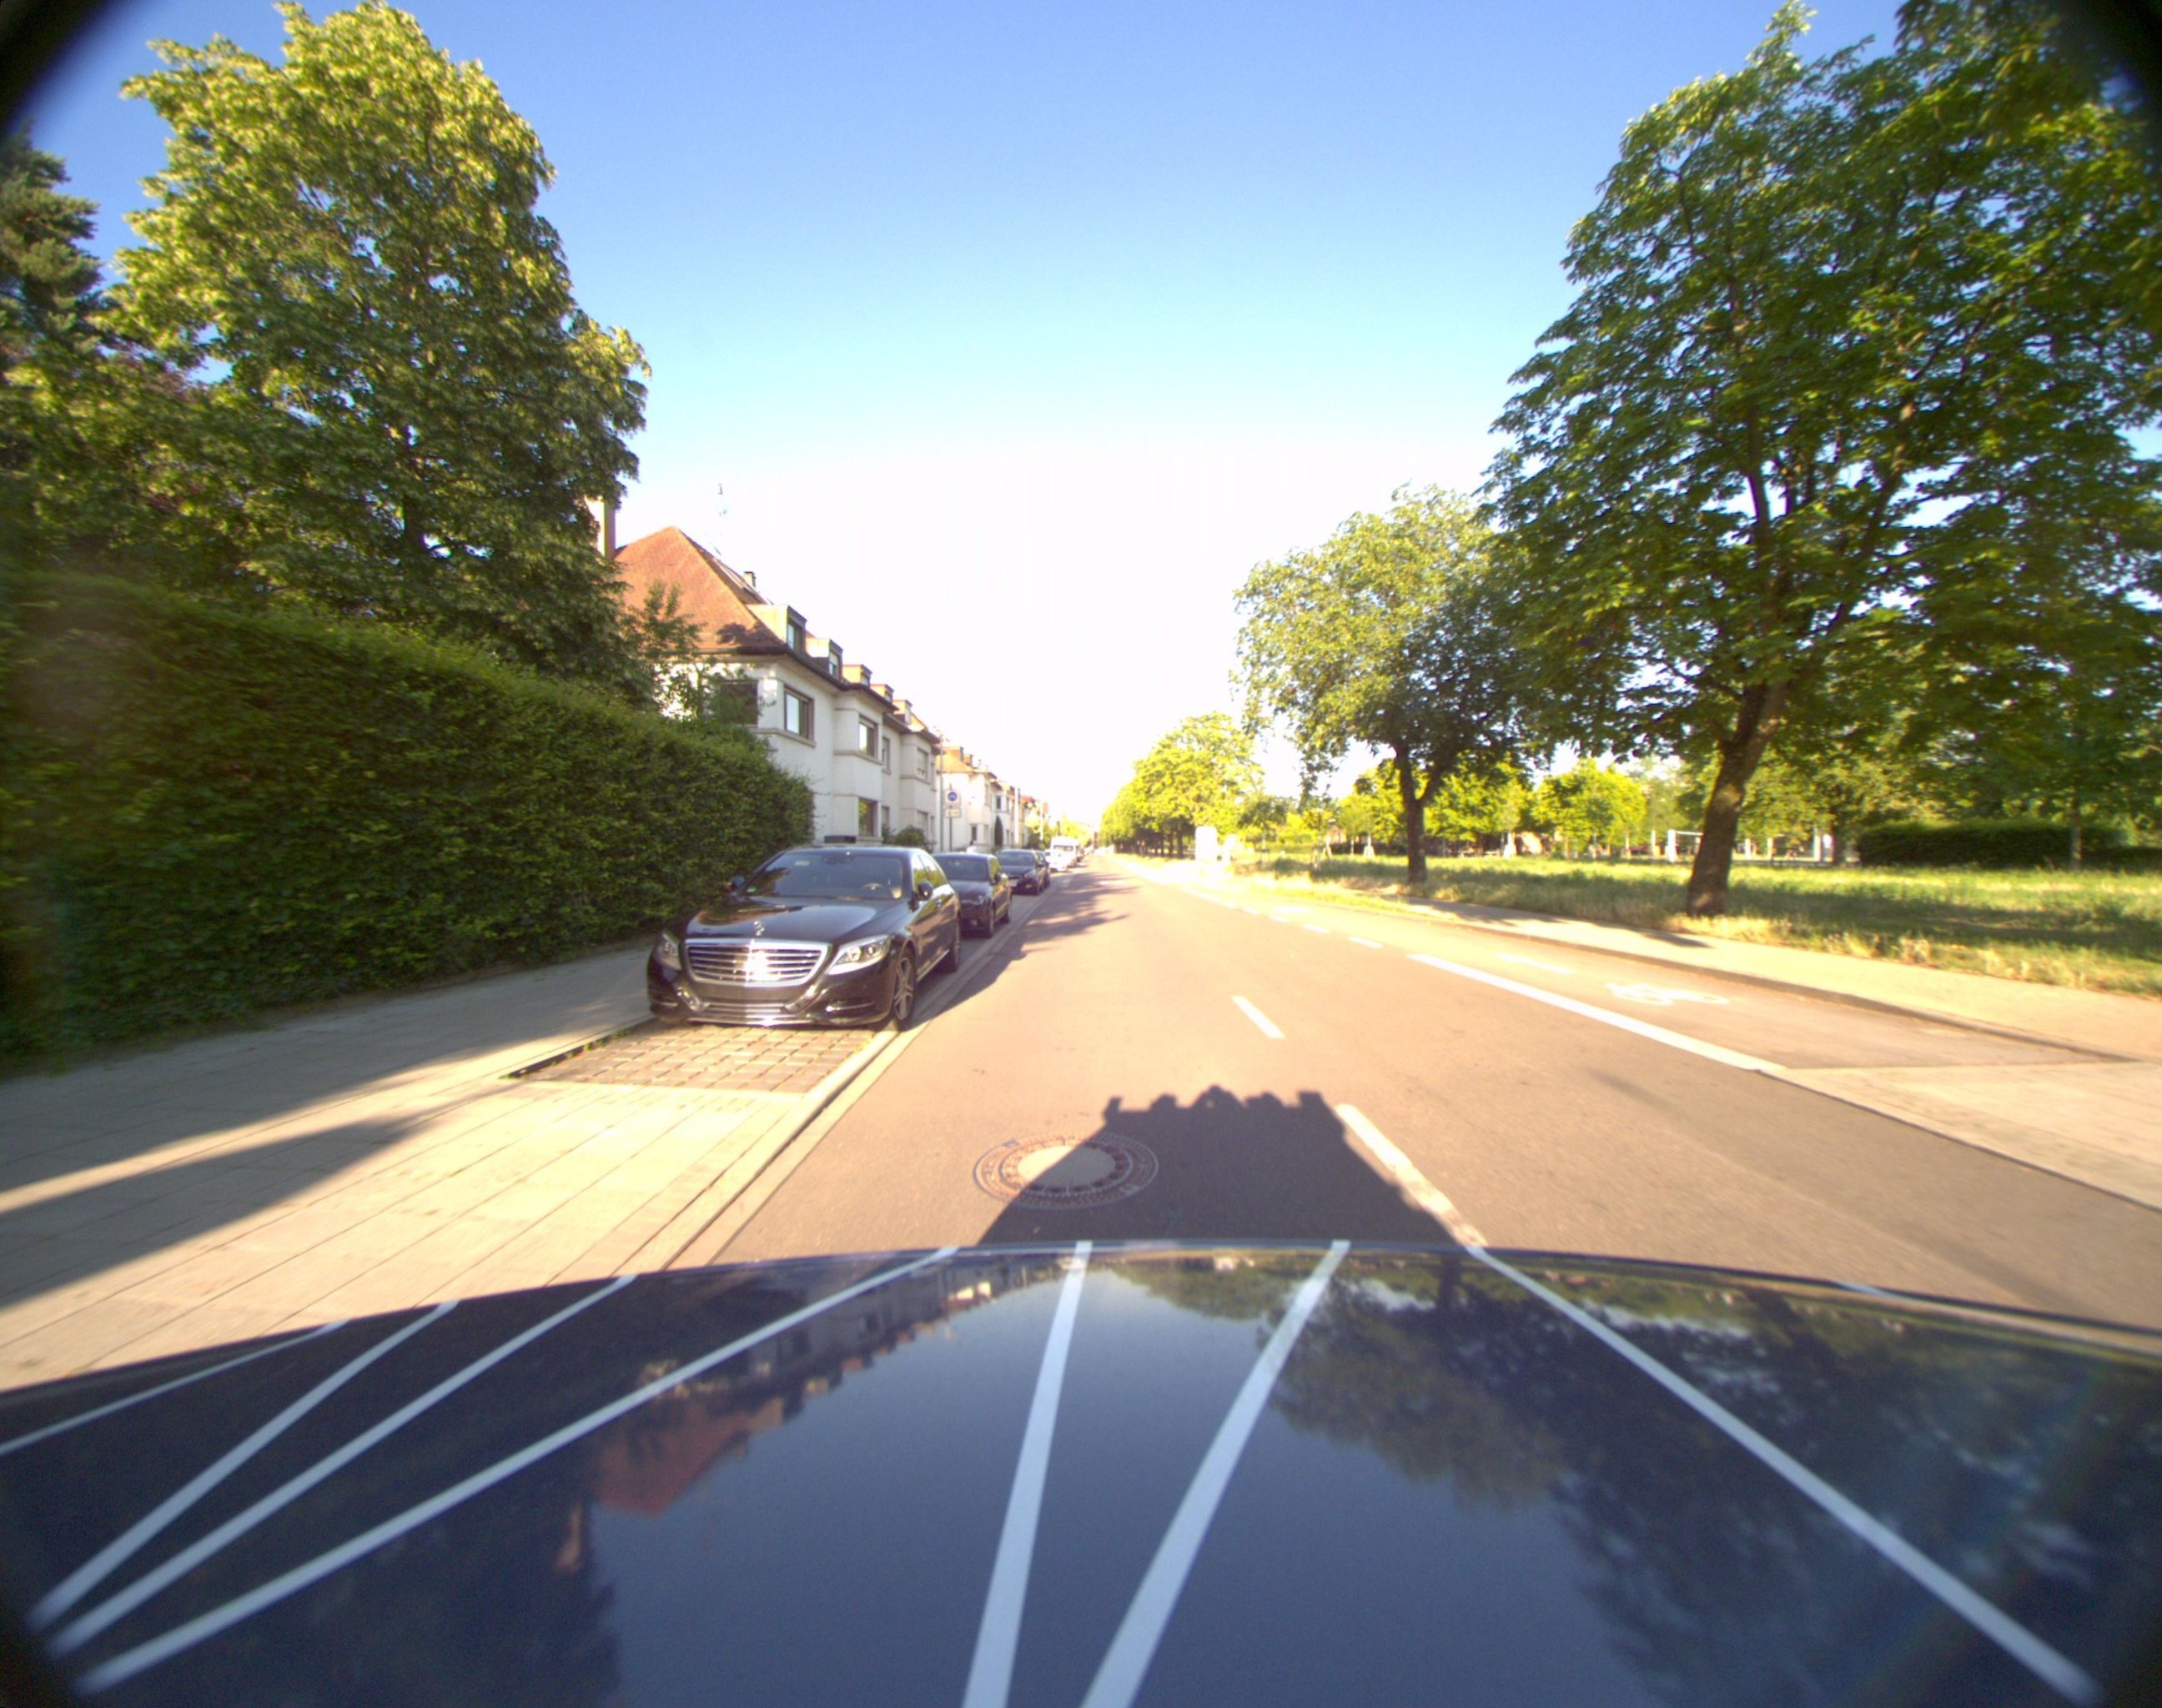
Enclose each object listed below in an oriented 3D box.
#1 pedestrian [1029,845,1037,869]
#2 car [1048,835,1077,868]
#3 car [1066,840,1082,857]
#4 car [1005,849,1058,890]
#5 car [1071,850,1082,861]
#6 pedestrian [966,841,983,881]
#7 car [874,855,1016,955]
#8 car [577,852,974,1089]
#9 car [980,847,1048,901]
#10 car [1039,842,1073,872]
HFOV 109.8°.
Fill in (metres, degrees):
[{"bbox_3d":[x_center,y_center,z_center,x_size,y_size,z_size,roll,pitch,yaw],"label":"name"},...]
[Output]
[{"bbox_3d":[-3.653,0.250,58.045,0.531,1.788,0.589,-2,2,-1],"label":"pedestrian"},{"bbox_3d":[-1.500,-0.278,62.670,2.132,2.462,5.723,-2,2,0],"label":"car"},{"bbox_3d":[-0.865,-0.700,92.052,1.708,1.848,3.712,-2,2,1],"label":"car"},{"bbox_3d":[-1.942,0.586,30.566,1.680,1.525,3.471,-2,0,3],"label":"car"},{"bbox_3d":[-0.663,0.219,120.250,1.682,1.543,3.842,1,1,-1],"label":"car"},{"bbox_3d":[-5.015,0.320,35.827,0.587,1.836,0.823,-2,2,3],"label":"pedestrian"},{"bbox_3d":[-2.305,0.795,13.896,1.784,1.469,4.000,-2,0,0],"label":"car"},{"bbox_3d":[-2.359,0.769,7.476,2.009,1.490,4.914,1,1,-2],"label":"car"},{"bbox_3d":[-2.150,0.606,25.381,1.796,1.587,4.076,-2,0,0],"label":"car"},{"bbox_3d":[-1.597,0.169,49.510,1.998,1.775,3.999,-2,2,0],"label":"car"}]
